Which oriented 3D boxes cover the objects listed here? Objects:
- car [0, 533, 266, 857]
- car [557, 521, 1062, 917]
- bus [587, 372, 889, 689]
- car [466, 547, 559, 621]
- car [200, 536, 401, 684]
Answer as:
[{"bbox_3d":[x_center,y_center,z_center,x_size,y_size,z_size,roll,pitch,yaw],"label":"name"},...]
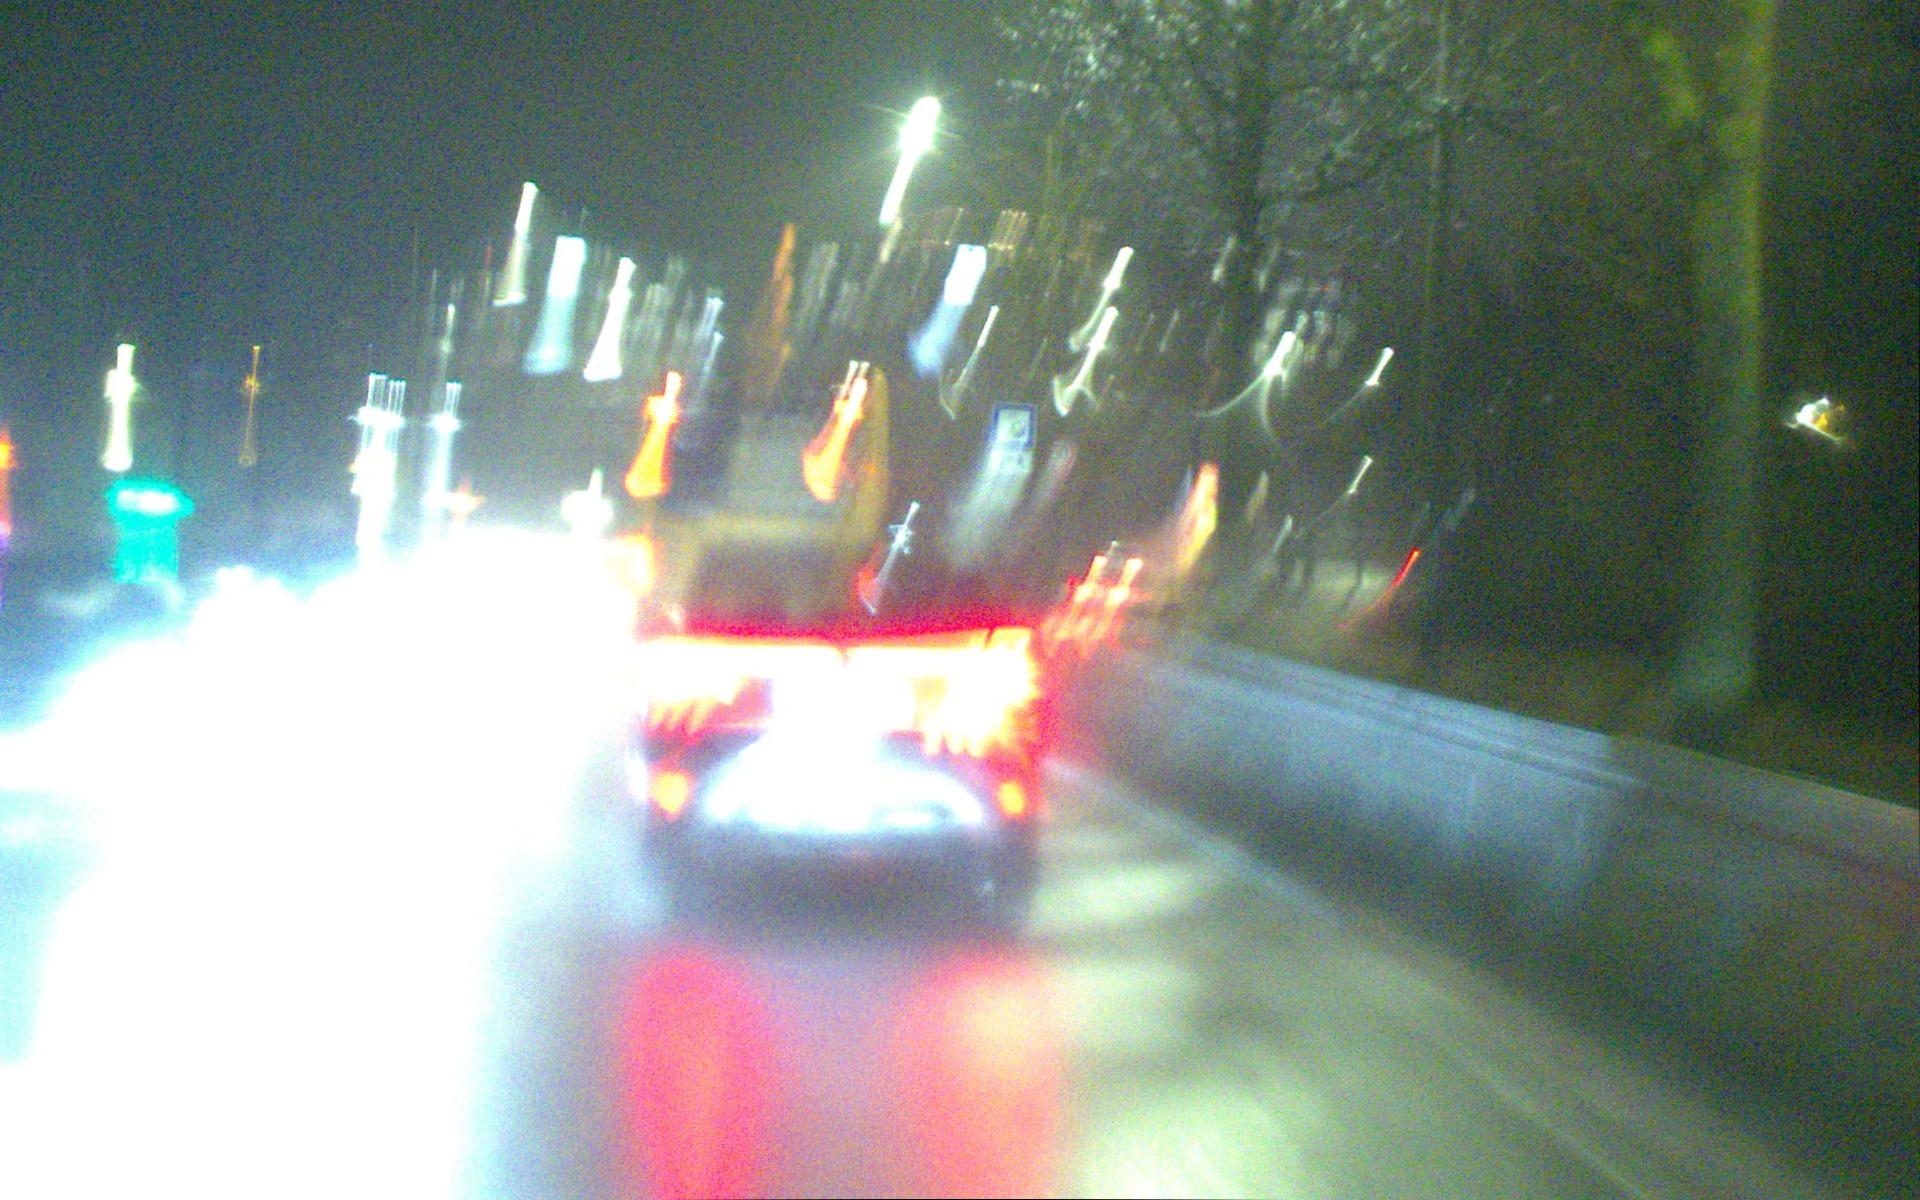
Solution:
[{"bbox_3d":[-4.574,0.399,17.716,1.617,1.473,4.047,0,1,-7],"label":"car"},{"bbox_3d":[-0.571,0.431,15.794,1.993,1.519,4.000,1,2,1],"label":"car"},{"bbox_3d":[-2.566,-0.792,39.419,3.043,3.201,9.052,0,1,-4],"label":"bus"},{"bbox_3d":[-9.349,-0.357,72.108,1.823,1.398,4.037,2,1,-7],"label":"car"},{"bbox_3d":[-6.898,0.061,36.320,1.759,1.426,4.329,1,1,-7],"label":"car"}]
